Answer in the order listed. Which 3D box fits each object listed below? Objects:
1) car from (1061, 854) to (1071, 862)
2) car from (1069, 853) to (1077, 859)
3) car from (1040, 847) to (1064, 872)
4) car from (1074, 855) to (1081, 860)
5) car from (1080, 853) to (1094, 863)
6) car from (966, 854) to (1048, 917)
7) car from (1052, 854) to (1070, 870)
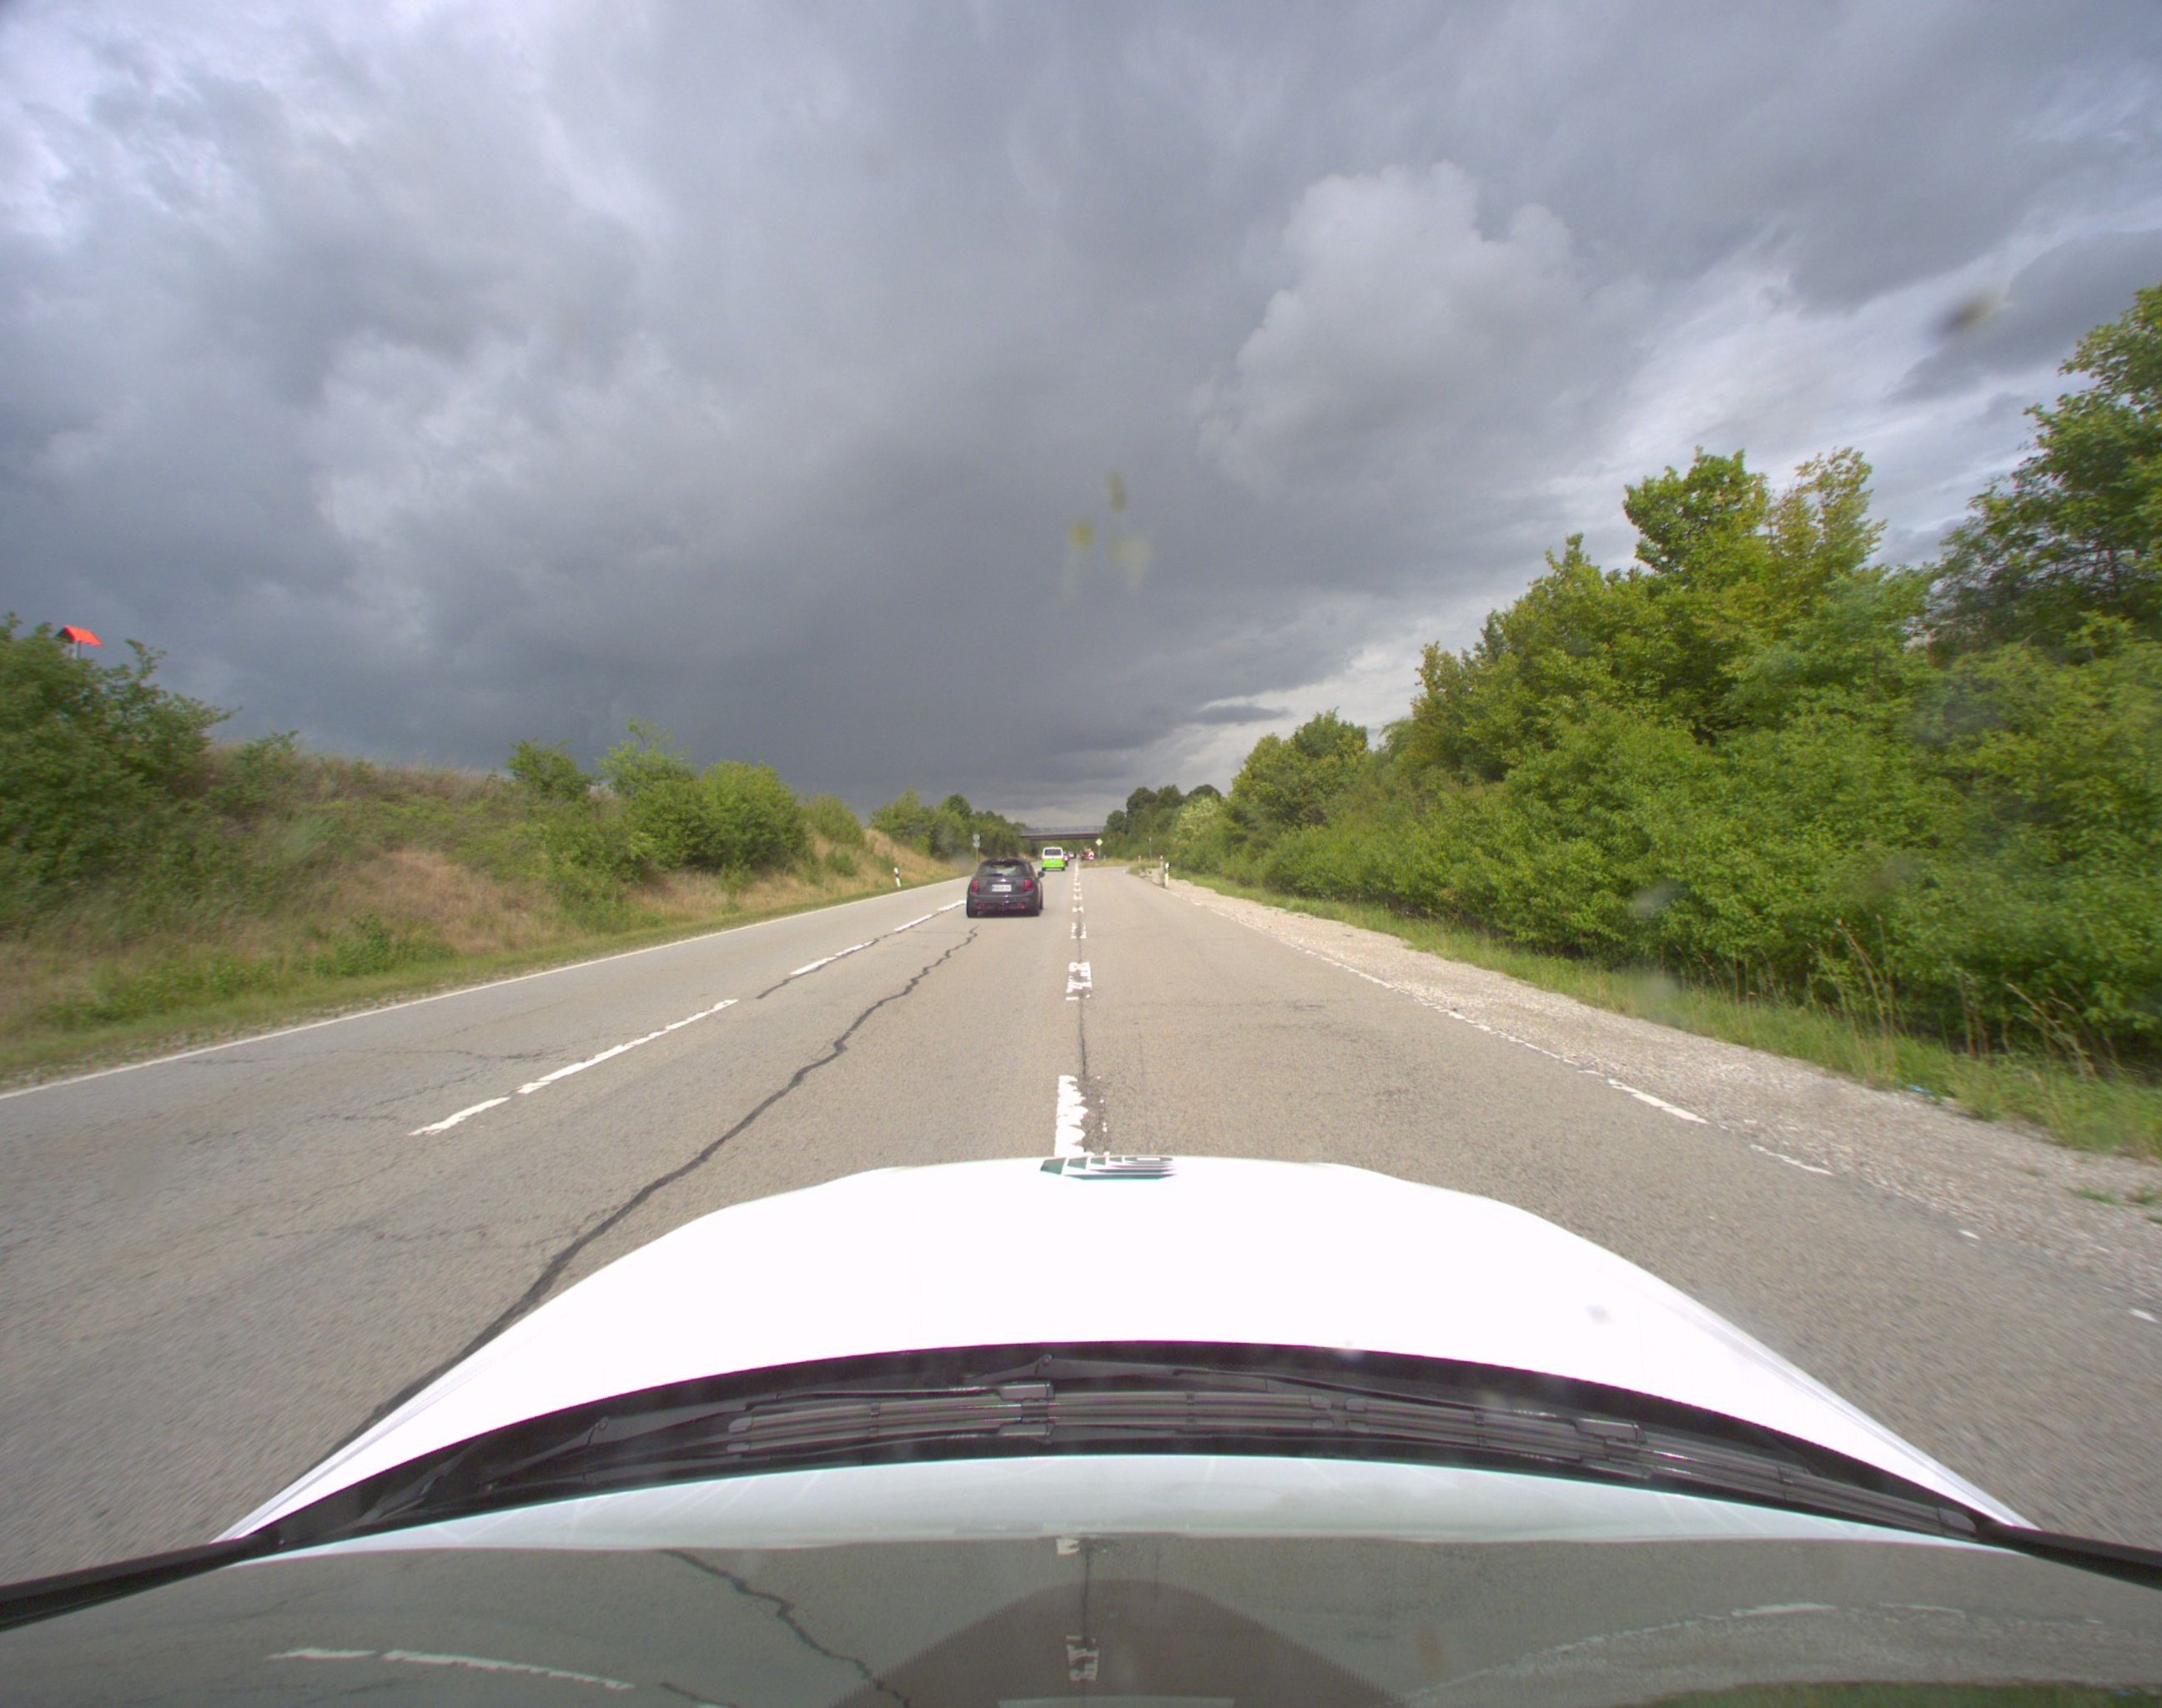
[{"bbox_3d":[-2.713,0.686,148.590,1.662,1.403,3.999,-1,0,0],"label":"car"},{"bbox_3d":[-1.958,0.462,199.899,1.662,1.403,3.999,-1,0,0],"label":"car"},{"bbox_3d":[-2.402,0.434,68.052,1.814,2.054,3.999,-1,0,-1],"label":"car"},{"bbox_3d":[-0.840,0.904,221.862,1.660,1.403,4.003,-1,0,2],"label":"car"},{"bbox_3d":[0.946,0.605,132.017,1.989,1.552,3.996,-1,0,-3],"label":"car"},{"bbox_3d":[-1.804,0.740,20.967,1.751,1.427,3.999,-1,0,-1],"label":"car"},{"bbox_3d":[-2.217,0.865,91.392,1.812,1.750,4.001,-1,0,1],"label":"car"}]
